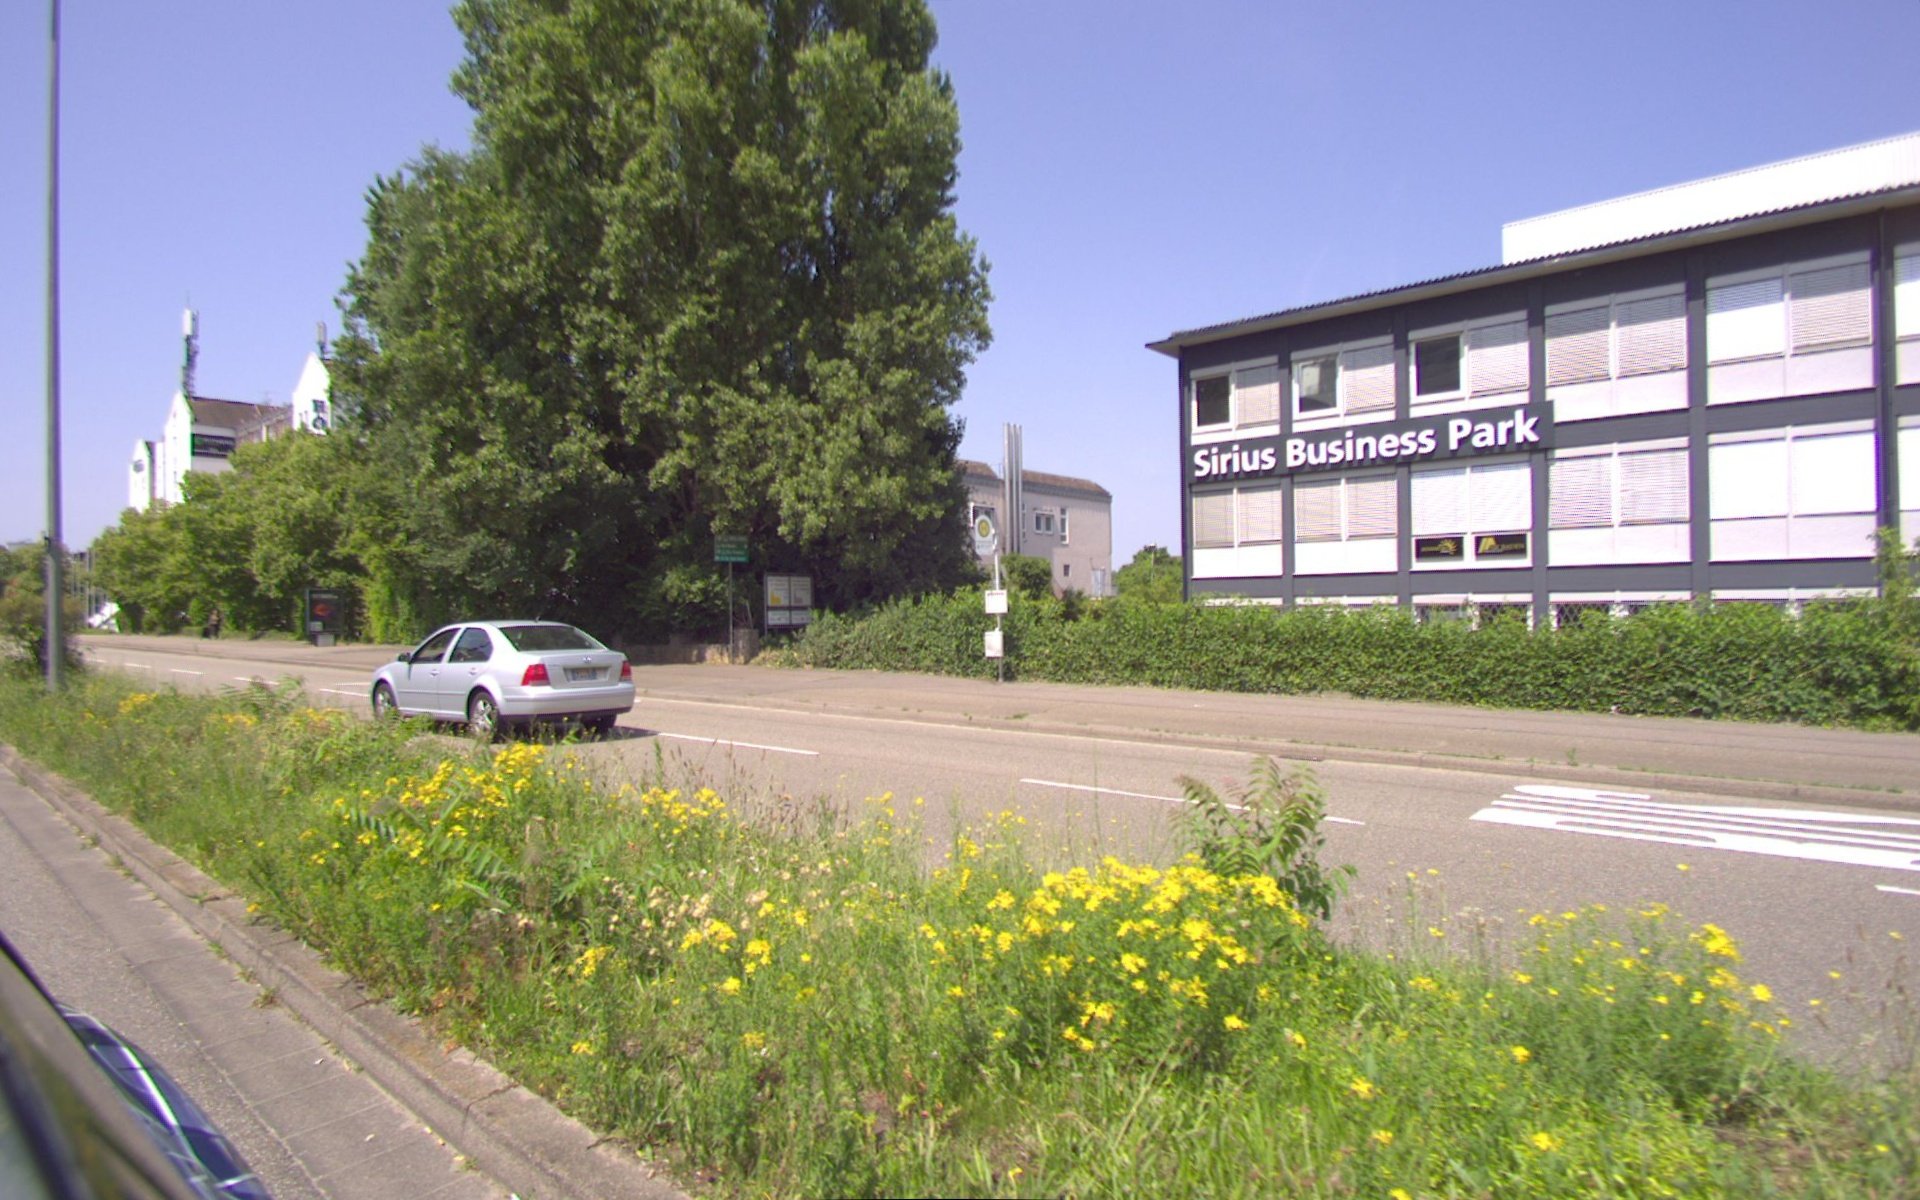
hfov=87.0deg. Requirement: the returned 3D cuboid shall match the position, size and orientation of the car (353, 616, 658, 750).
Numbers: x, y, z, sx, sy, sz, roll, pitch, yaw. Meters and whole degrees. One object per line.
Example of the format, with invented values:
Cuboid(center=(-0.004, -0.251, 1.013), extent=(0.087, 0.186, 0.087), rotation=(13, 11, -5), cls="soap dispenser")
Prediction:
Cuboid(center=(-5.899, 0.941, 12.986), extent=(4.082, 1.429, 1.744), rotation=(0, -1, 35), cls="car")
